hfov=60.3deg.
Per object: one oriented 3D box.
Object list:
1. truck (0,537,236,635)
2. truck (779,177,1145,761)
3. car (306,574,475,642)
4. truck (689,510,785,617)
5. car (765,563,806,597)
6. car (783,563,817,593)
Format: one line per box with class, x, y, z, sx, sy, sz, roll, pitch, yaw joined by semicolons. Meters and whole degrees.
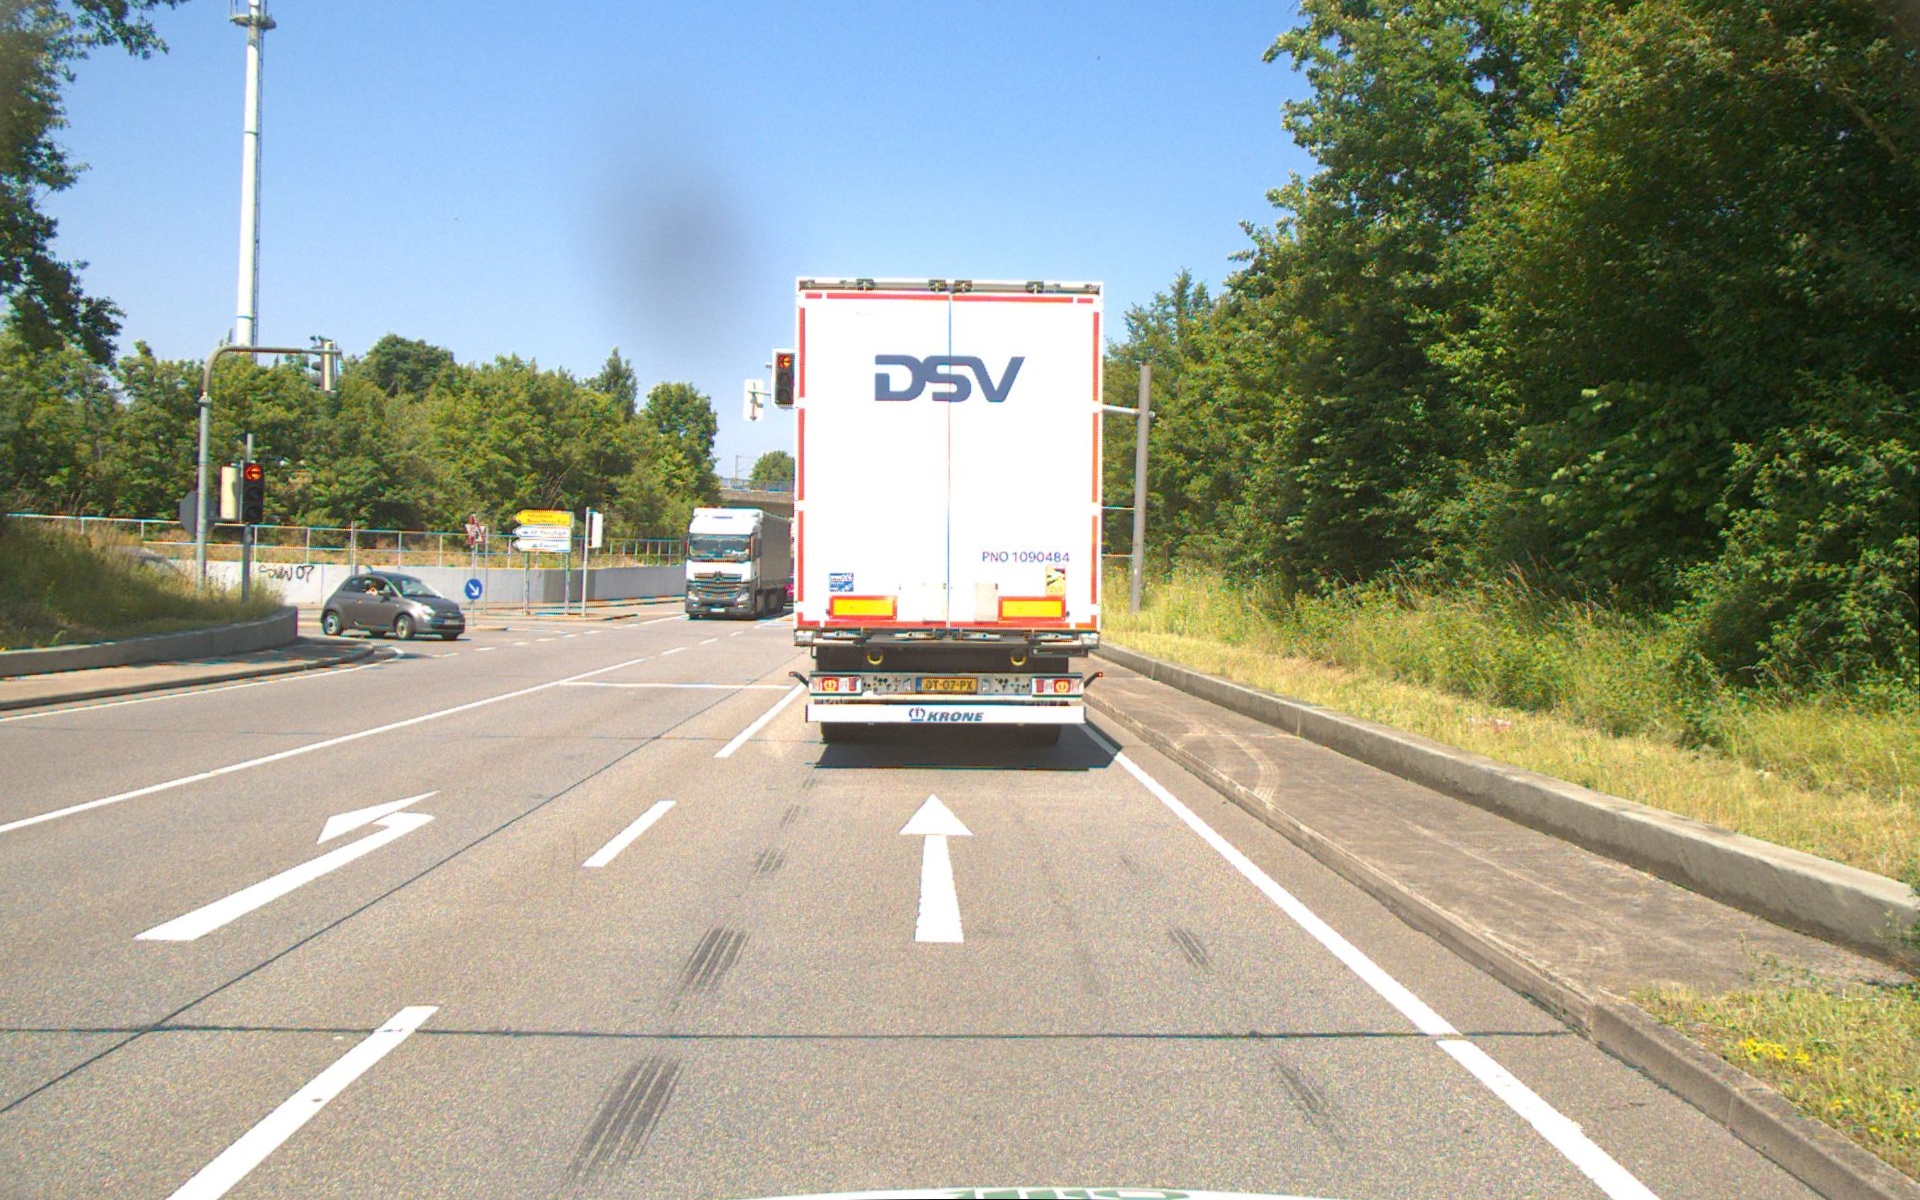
truck;-21.457;-0.367;41.337;5.879;2.314;1.985;1;1;3
truck;0.043;-1.094;18.192;2.889;4.648;9.863;1;0;0
car;-13.275;0.175;38.593;3.514;1.495;1.592;1;0;21
truck;-8.628;-1.427;65.375;2.305;3.815;12.624;1;1;-1
car;-8.709;-1.018;82.597;1.711;1.654;3.702;1;1;-1
car;-9.246;-1.275;95.741;1.711;1.654;3.702;1;1;-1
